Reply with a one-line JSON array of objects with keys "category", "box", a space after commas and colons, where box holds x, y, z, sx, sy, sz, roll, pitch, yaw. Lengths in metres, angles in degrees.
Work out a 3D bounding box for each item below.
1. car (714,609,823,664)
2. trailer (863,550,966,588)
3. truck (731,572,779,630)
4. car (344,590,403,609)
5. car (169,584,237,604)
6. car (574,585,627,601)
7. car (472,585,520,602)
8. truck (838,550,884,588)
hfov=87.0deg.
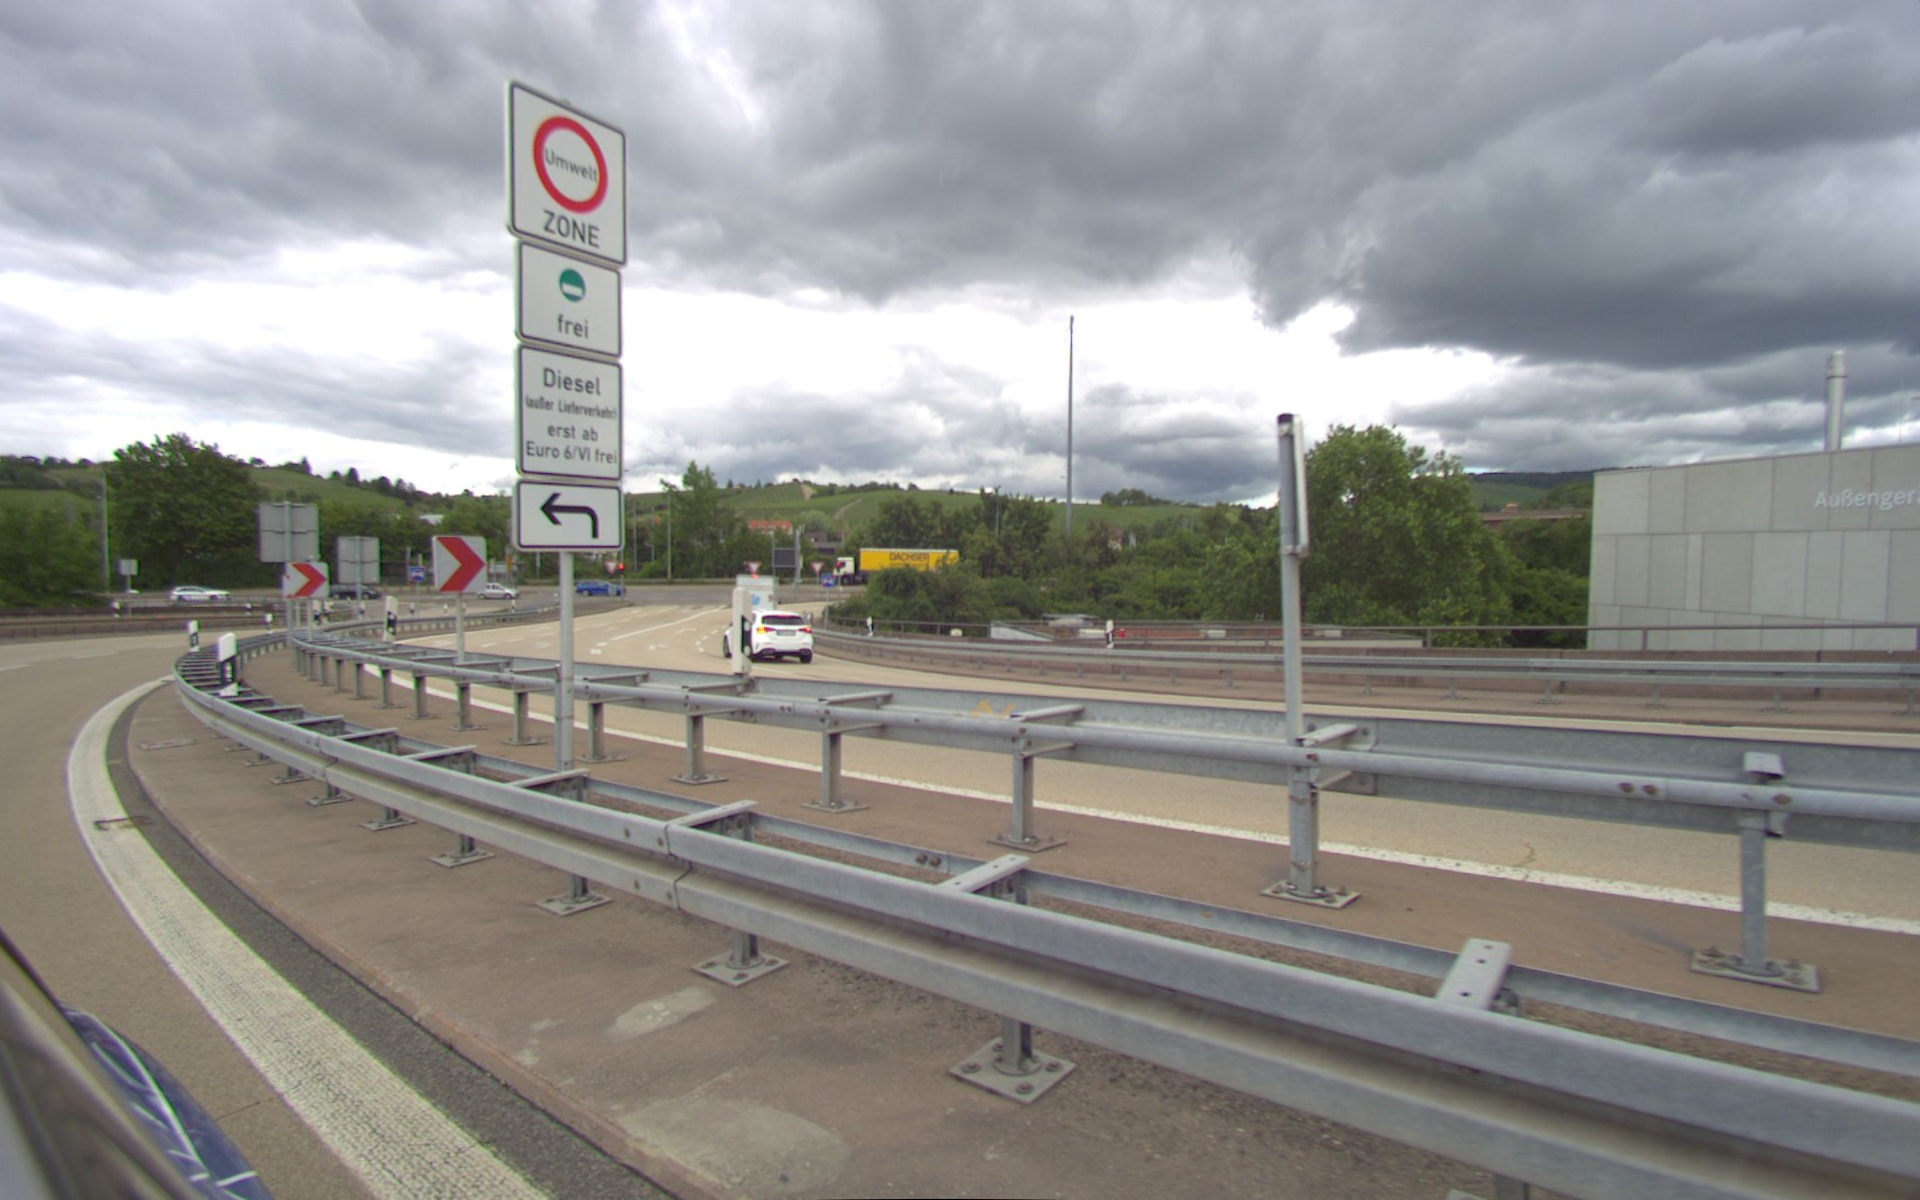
[{"category": "car", "box": [-5.576, 1.044, 29.055, 1.884, 1.425, 4.379, 3, -3, -27]}, {"category": "trailer", "box": [-5.184, -3.522, 114.306, 11.480, 4.235, 2.638, 0, 3, -4]}, {"category": "truck", "box": [-12.447, 0.035, 61.925, 2.316, 3.288, 7.007, 2, 0, -7]}, {"category": "car", "box": [-54.013, -0.085, 93.198, 4.228, 1.568, 1.951, -1, 3, -6]}, {"category": "car", "box": [-69.130, -0.562, 92.476, 4.643, 1.572, 1.880, -1, 3, -5]}, {"category": "car", "box": [-34.373, -0.686, 96.825, 4.475, 1.464, 1.612, -1, 3, -3]}, {"category": "car", "box": [-42.961, -0.627, 93.745, 3.692, 1.384, 1.631, -1, 3, -5]}, {"category": "truck", "box": [-11.118, -3.535, 113.877, 5.025, 4.235, 2.638, 0, 3, -4]}]
